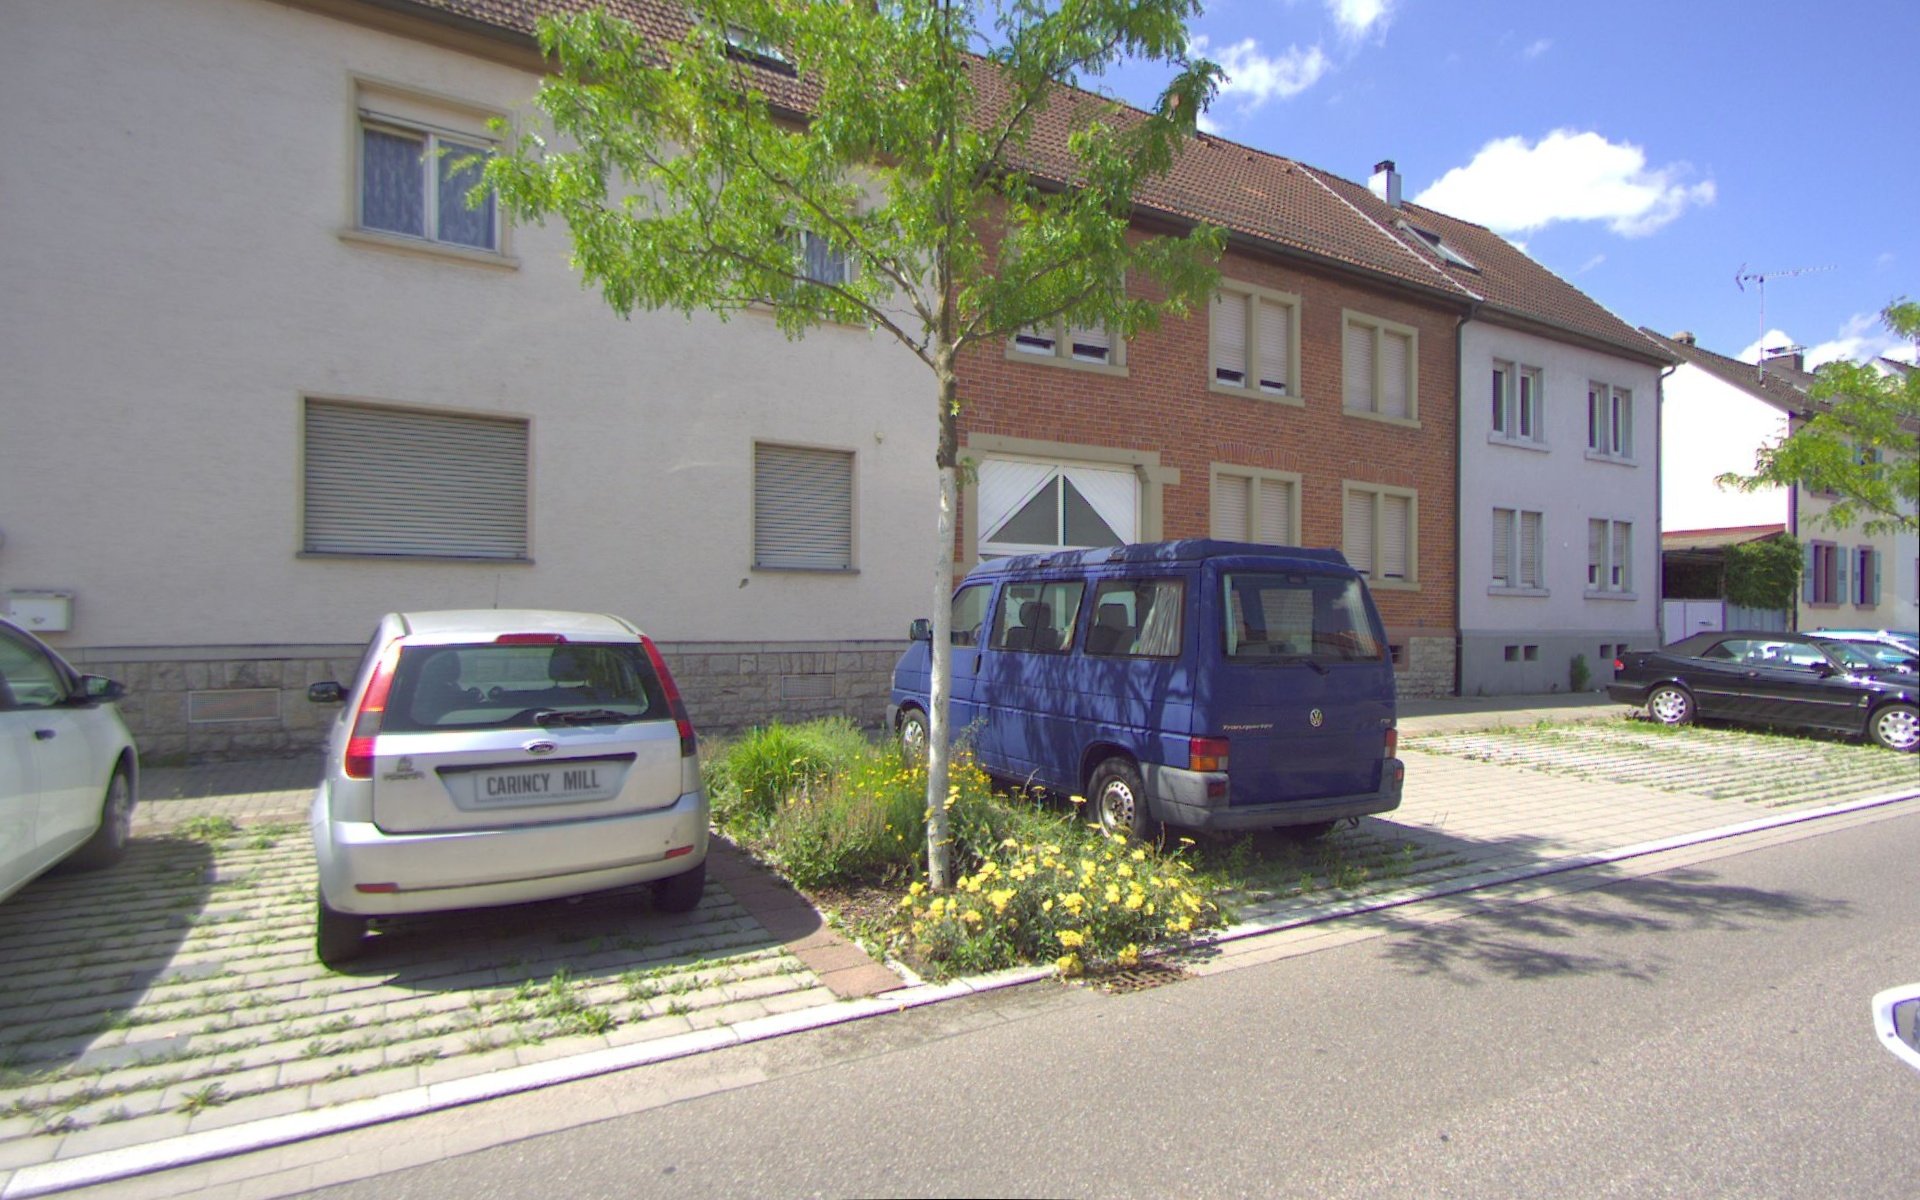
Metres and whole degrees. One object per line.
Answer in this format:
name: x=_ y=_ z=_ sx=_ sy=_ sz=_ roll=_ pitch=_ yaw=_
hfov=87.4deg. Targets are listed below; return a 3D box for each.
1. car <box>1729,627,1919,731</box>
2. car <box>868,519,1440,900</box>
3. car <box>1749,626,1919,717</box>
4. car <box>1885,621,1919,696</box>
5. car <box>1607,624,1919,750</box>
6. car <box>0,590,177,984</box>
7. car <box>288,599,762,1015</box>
car: x=14.983 y=1.235 z=15.958 sx=1.756 sy=1.497 sz=4.031 roll=1 pitch=0 yaw=-32
car: x=1.065 y=0.595 z=7.836 sx=1.928 sy=2.023 sz=4.594 roll=1 pitch=0 yaw=-28
car: x=17.108 y=1.285 z=17.979 sx=1.757 sy=1.497 sz=4.377 roll=1 pitch=0 yaw=-33
car: x=22.585 y=1.319 z=21.145 sx=1.821 sy=1.633 sz=4.232 roll=1 pitch=0 yaw=-30
car: x=11.801 y=1.120 z=13.896 sx=1.774 sy=1.444 sz=4.503 roll=1 pitch=0 yaw=-30
car: x=-4.861 y=0.699 z=4.244 sx=1.750 sy=1.508 sz=3.900 roll=1 pitch=0 yaw=-28
car: x=-2.571 y=0.772 z=5.815 sx=1.750 sy=1.508 sz=3.900 roll=1 pitch=0 yaw=-28
